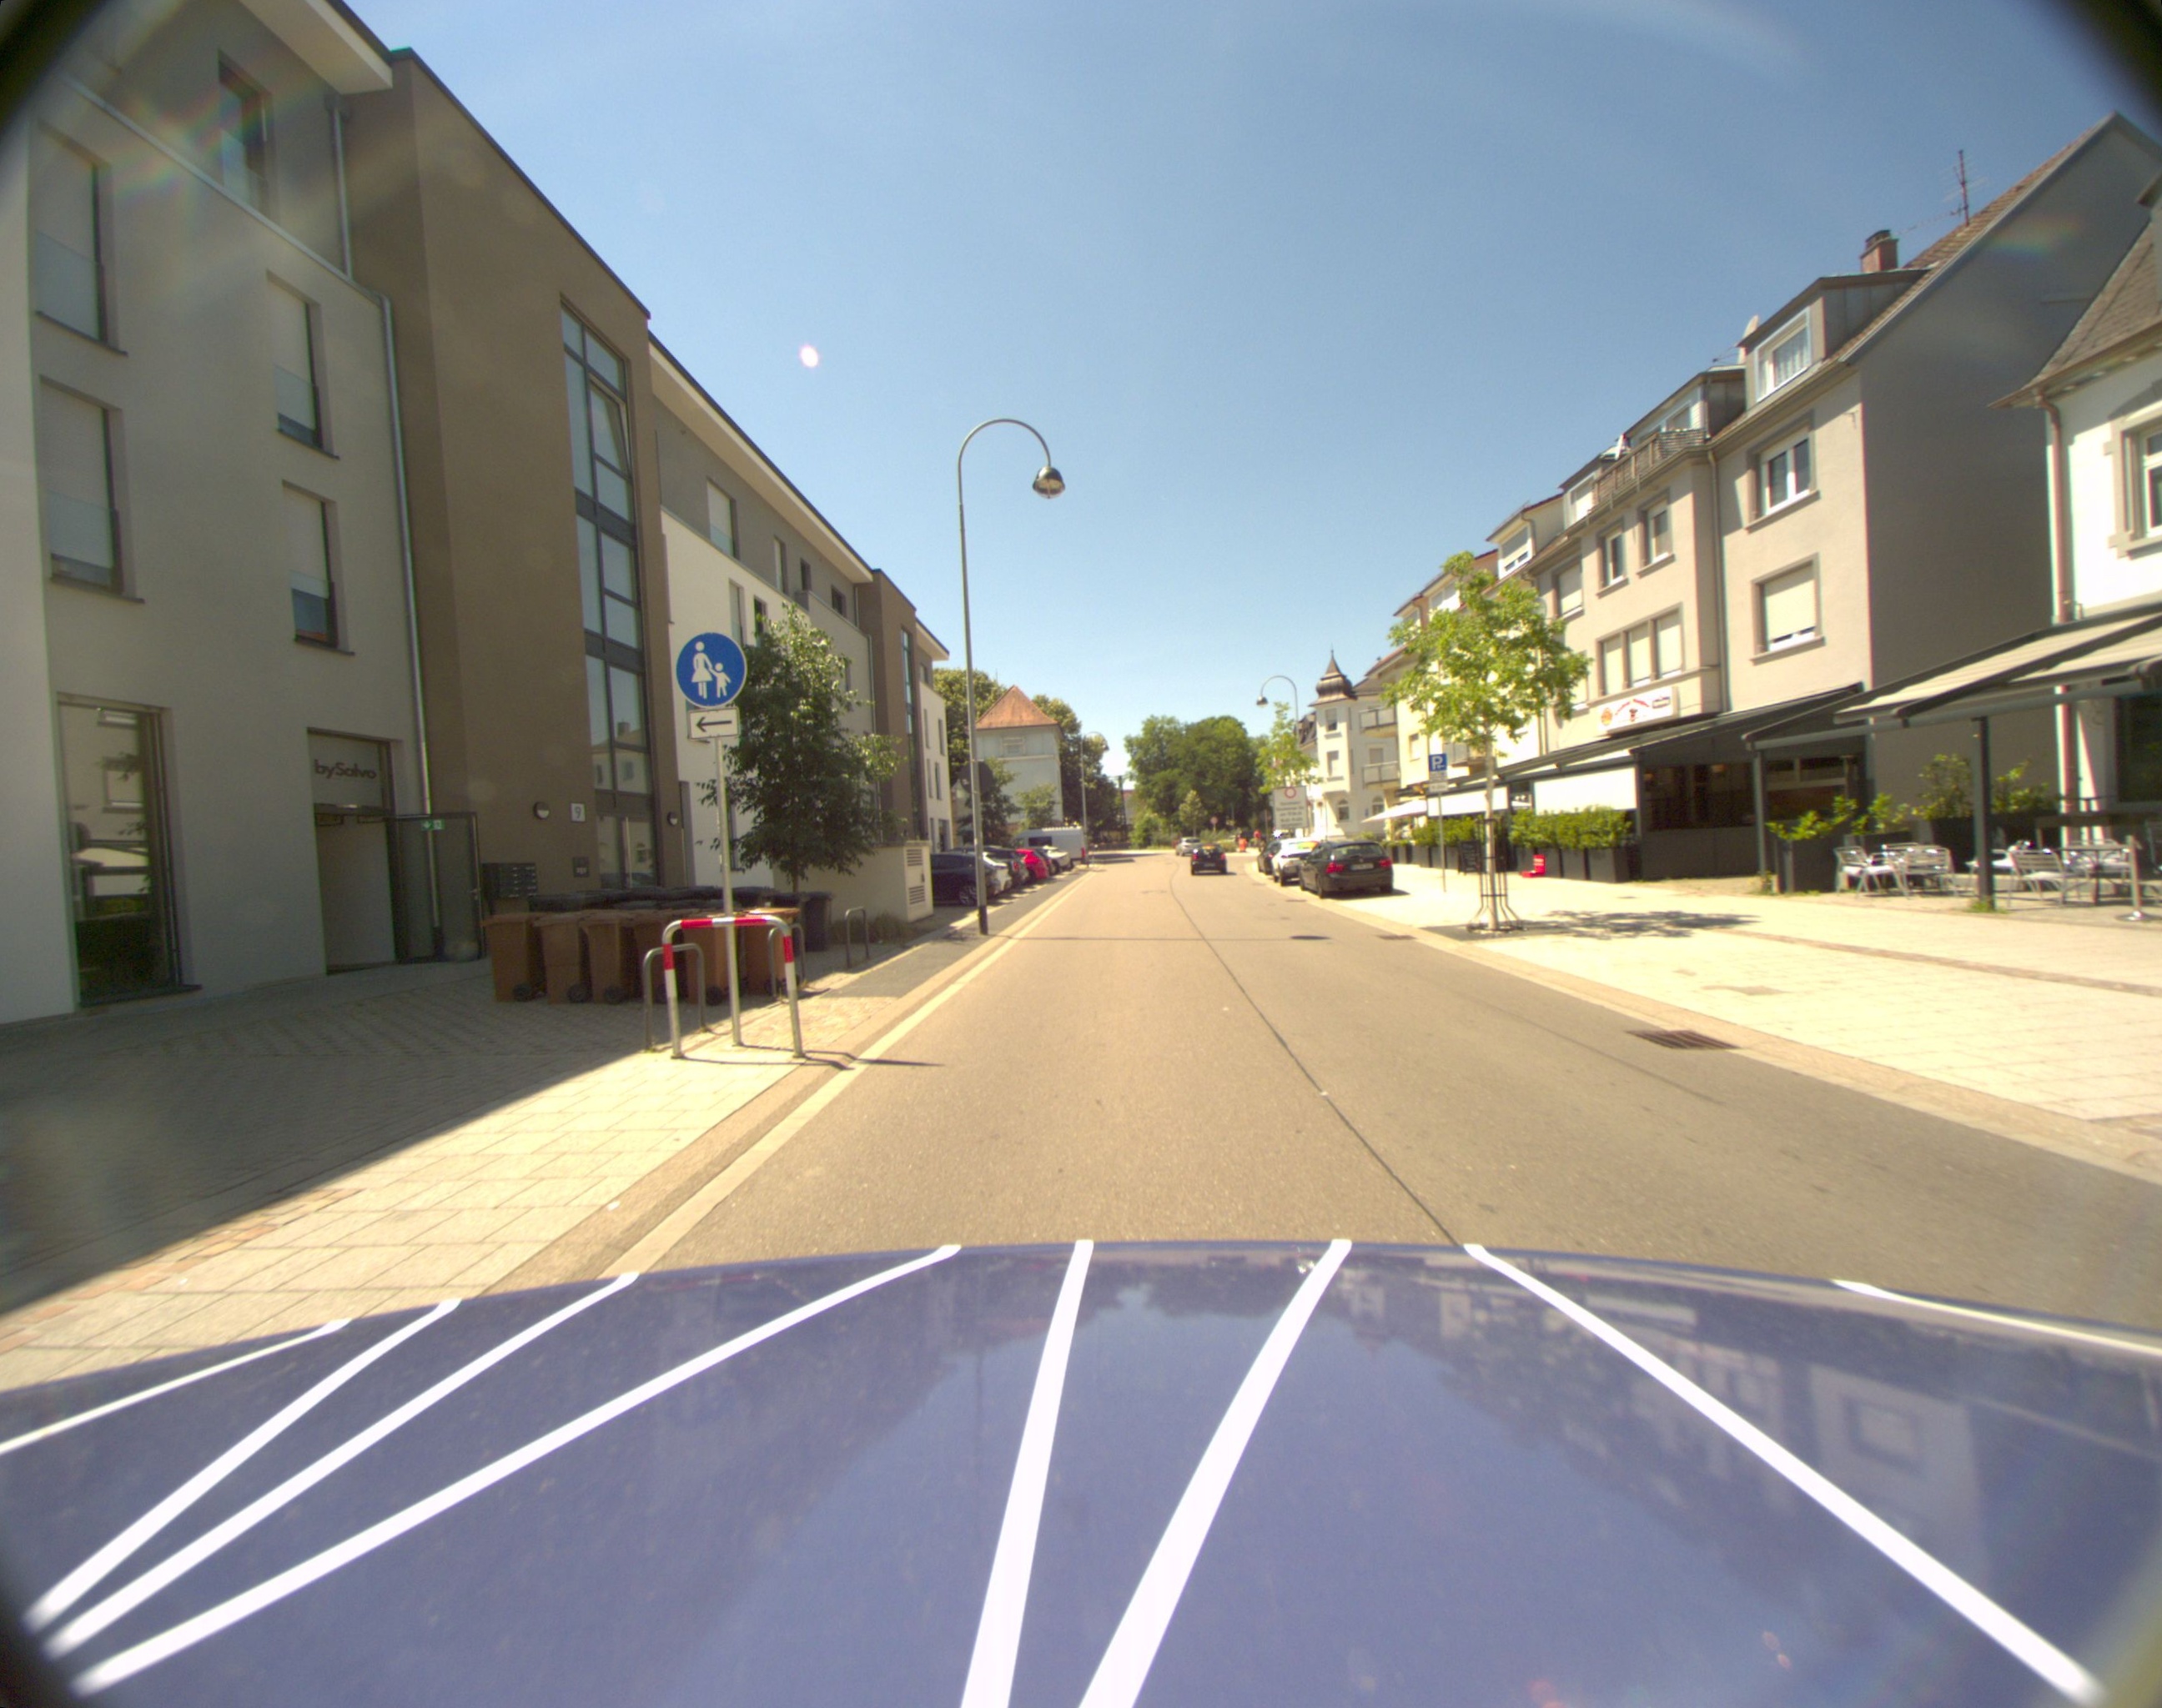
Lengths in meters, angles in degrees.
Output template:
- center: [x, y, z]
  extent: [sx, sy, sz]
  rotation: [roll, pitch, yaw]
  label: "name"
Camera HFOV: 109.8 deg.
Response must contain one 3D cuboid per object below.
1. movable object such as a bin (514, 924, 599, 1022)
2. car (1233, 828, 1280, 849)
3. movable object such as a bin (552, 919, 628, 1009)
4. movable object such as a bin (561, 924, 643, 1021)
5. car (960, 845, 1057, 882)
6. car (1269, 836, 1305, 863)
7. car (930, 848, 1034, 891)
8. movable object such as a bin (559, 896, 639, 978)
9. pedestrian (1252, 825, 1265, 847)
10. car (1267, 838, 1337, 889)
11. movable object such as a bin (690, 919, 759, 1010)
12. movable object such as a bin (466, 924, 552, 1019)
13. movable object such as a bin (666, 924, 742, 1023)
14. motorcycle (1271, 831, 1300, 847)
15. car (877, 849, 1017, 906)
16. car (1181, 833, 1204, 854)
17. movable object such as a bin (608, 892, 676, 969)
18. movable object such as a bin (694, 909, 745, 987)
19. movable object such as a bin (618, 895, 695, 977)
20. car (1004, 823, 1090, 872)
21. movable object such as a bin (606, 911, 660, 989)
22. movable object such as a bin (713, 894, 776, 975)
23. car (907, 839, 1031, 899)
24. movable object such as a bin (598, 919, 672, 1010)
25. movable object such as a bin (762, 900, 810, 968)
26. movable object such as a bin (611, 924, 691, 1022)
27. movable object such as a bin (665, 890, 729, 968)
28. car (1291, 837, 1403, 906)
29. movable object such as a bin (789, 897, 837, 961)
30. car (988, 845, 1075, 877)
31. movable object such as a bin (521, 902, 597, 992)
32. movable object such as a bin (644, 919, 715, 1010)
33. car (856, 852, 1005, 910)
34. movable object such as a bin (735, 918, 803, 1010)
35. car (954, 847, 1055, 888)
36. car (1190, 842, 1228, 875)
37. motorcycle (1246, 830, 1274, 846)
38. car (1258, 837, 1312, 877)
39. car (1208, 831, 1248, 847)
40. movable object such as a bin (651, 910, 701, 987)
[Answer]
- center: [-5.484, 1.233, 7.963]
  extent: [0.474, 0.925, 0.528]
  rotation: [-1, 1, 4]
  label: "movable object such as a bin"
- center: [16.399, -1.457, 71.138]
  extent: [4.077, 1.729, 1.815]
  rotation: [-2, 1, 8]
  label: "car"
- center: [-5.504, 1.220, 8.534]
  extent: [0.466, 0.925, 0.522]
  rotation: [-1, 1, 4]
  label: "movable object such as a bin"
- center: [-4.989, 1.221, 7.937]
  extent: [0.474, 0.925, 0.528]
  rotation: [-1, 1, 4]
  label: "movable object such as a bin"
- center: [-3.356, 0.438, 35.859]
  extent: [4.358, 1.542, 1.652]
  rotation: [-2, 1, 1]
  label: "car"
- center: [11.833, -0.252, 43.714]
  extent: [1.899, 1.433, 3.779]
  rotation: [0, 0, 14]
  label: "car"
- center: [-3.677, 0.573, 28.616]
  extent: [3.616, 1.454, 1.617]
  rotation: [-2, 1, 2]
  label: "car"
- center: [-6.628, 1.134, 10.476]
  extent: [0.647, 1.054, 0.625]
  rotation: [-1, 1, 5]
  label: "movable object such as a bin"
- center: [15.028, -1.524, 64.296]
  extent: [0.758, 1.756, 0.802]
  rotation: [-3, 1, -6]
  label: "pedestrian"
- center: [7.348, 0.259, 25.581]
  extent: [1.684, 1.475, 3.770]
  rotation: [-5, 1, 9]
  label: "car"
- center: [-3.945, 1.213, 8.437]
  extent: [0.468, 0.925, 0.528]
  rotation: [-1, 1, 4]
  label: "movable object such as a bin"
- center: [-6.074, 1.236, 8.088]
  extent: [0.474, 0.925, 0.528]
  rotation: [-1, 1, 4]
  label: "movable object such as a bin"
- center: [-3.881, 1.218, 7.853]
  extent: [0.474, 0.925, 0.528]
  rotation: [-1, 1, 4]
  label: "movable object such as a bin"
- center: [17.684, -1.300, 65.759]
  extent: [2.322, 1.317, 0.726]
  rotation: [-2, 1, 6]
  label: "motorcycle"
- center: [-3.977, 0.672, 23.003]
  extent: [3.817, 1.474, 1.778]
  rotation: [-2, 1, 2]
  label: "car"
- center: [8.951, -0.883, 61.313]
  extent: [1.684, 1.475, 4.087]
  rotation: [-4, 1, 8]
  label: "car"
- center: [-6.469, 1.113, 11.226]
  extent: [0.648, 1.054, 0.624]
  rotation: [-1, 1, -8]
  label: "movable object such as a bin"
- center: [-4.642, 1.196, 9.776]
  extent: [0.517, 0.918, 0.437]
  rotation: [-1, 1, -19]
  label: "movable object such as a bin"
- center: [-5.831, 1.119, 10.464]
  extent: [0.647, 1.054, 0.625]
  rotation: [-1, 1, 5]
  label: "movable object such as a bin"
- center: [-2.006, -0.392, 45.561]
  extent: [4.866, 2.720, 1.851]
  rotation: [-2, 1, 4]
  label: "car"
- center: [-5.750, 1.216, 9.770]
  extent: [0.483, 0.918, 0.437]
  rotation: [-1, 1, -19]
  label: "movable object such as a bin"
- center: [-4.673, 1.109, 10.574]
  extent: [0.570, 1.054, 0.560]
  rotation: [-1, 1, 5]
  label: "movable object such as a bin"
- center: [-3.727, 0.475, 25.714]
  extent: [3.817, 1.776, 1.840]
  rotation: [-2, 1, 2]
  label: "car"
- center: [-4.977, 1.221, 8.501]
  extent: [0.466, 0.925, 0.522]
  rotation: [-1, 1, 4]
  label: "movable object such as a bin"
- center: [-4.299, 1.159, 11.096]
  extent: [0.513, 0.926, 0.465]
  rotation: [-1, 1, -2]
  label: "movable object such as a bin"
- center: [-4.463, 1.226, 7.909]
  extent: [0.474, 0.925, 0.528]
  rotation: [-1, 1, 4]
  label: "movable object such as a bin"
- center: [-5.608, 1.087, 11.133]
  extent: [0.648, 1.054, 0.624]
  rotation: [-1, 1, -8]
  label: "movable object such as a bin"
- center: [6.868, 0.364, 20.109]
  extent: [1.758, 1.437, 4.450]
  rotation: [-6, 1, 7]
  label: "car"
- center: [-4.118, 1.140, 11.697]
  extent: [0.563, 0.926, 0.465]
  rotation: [-1, 1, -2]
  label: "movable object such as a bin"
- center: [-2.624, 0.348, 40.800]
  extent: [4.380, 1.521, 1.719]
  rotation: [-2, 1, 3]
  label: "car"
- center: [-6.543, 1.147, 9.547]
  extent: [0.571, 1.036, 0.559]
  rotation: [-1, 1, -10]
  label: "movable object such as a bin"
- center: [-4.468, 1.216, 8.475]
  extent: [0.466, 0.925, 0.522]
  rotation: [-1, 1, 4]
  label: "movable object such as a bin"
- center: [-4.049, 0.711, 20.795]
  extent: [3.664, 1.437, 1.535]
  rotation: [-1, 2, 5]
  label: "car"
- center: [-3.427, 1.200, 8.377]
  extent: [0.474, 0.925, 0.528]
  rotation: [-1, 1, 4]
  label: "movable object such as a bin"
- center: [-3.083, 0.524, 31.063]
  extent: [3.817, 1.454, 1.652]
  rotation: [-2, 1, 2]
  label: "car"
- center: [6.057, 0.183, 35.681]
  extent: [1.619, 1.445, 3.866]
  rotation: [-1, 1, 11]
  label: "car"
- center: [16.224, -1.421, 68.943]
  extent: [2.322, 1.317, 0.726]
  rotation: [-2, 1, 6]
  label: "motorcycle"
- center: [8.649, 0.061, 32.506]
  extent: [1.684, 1.475, 4.342]
  rotation: [-5, 1, 9]
  label: "car"
- center: [15.718, -1.570, 81.218]
  extent: [3.945, 1.528, 1.831]
  rotation: [-3, 1, -31]
  label: "car"
- center: [-5.229, 1.207, 9.827]
  extent: [0.483, 0.918, 0.437]
  rotation: [-1, 1, -19]
  label: "movable object such as a bin"
